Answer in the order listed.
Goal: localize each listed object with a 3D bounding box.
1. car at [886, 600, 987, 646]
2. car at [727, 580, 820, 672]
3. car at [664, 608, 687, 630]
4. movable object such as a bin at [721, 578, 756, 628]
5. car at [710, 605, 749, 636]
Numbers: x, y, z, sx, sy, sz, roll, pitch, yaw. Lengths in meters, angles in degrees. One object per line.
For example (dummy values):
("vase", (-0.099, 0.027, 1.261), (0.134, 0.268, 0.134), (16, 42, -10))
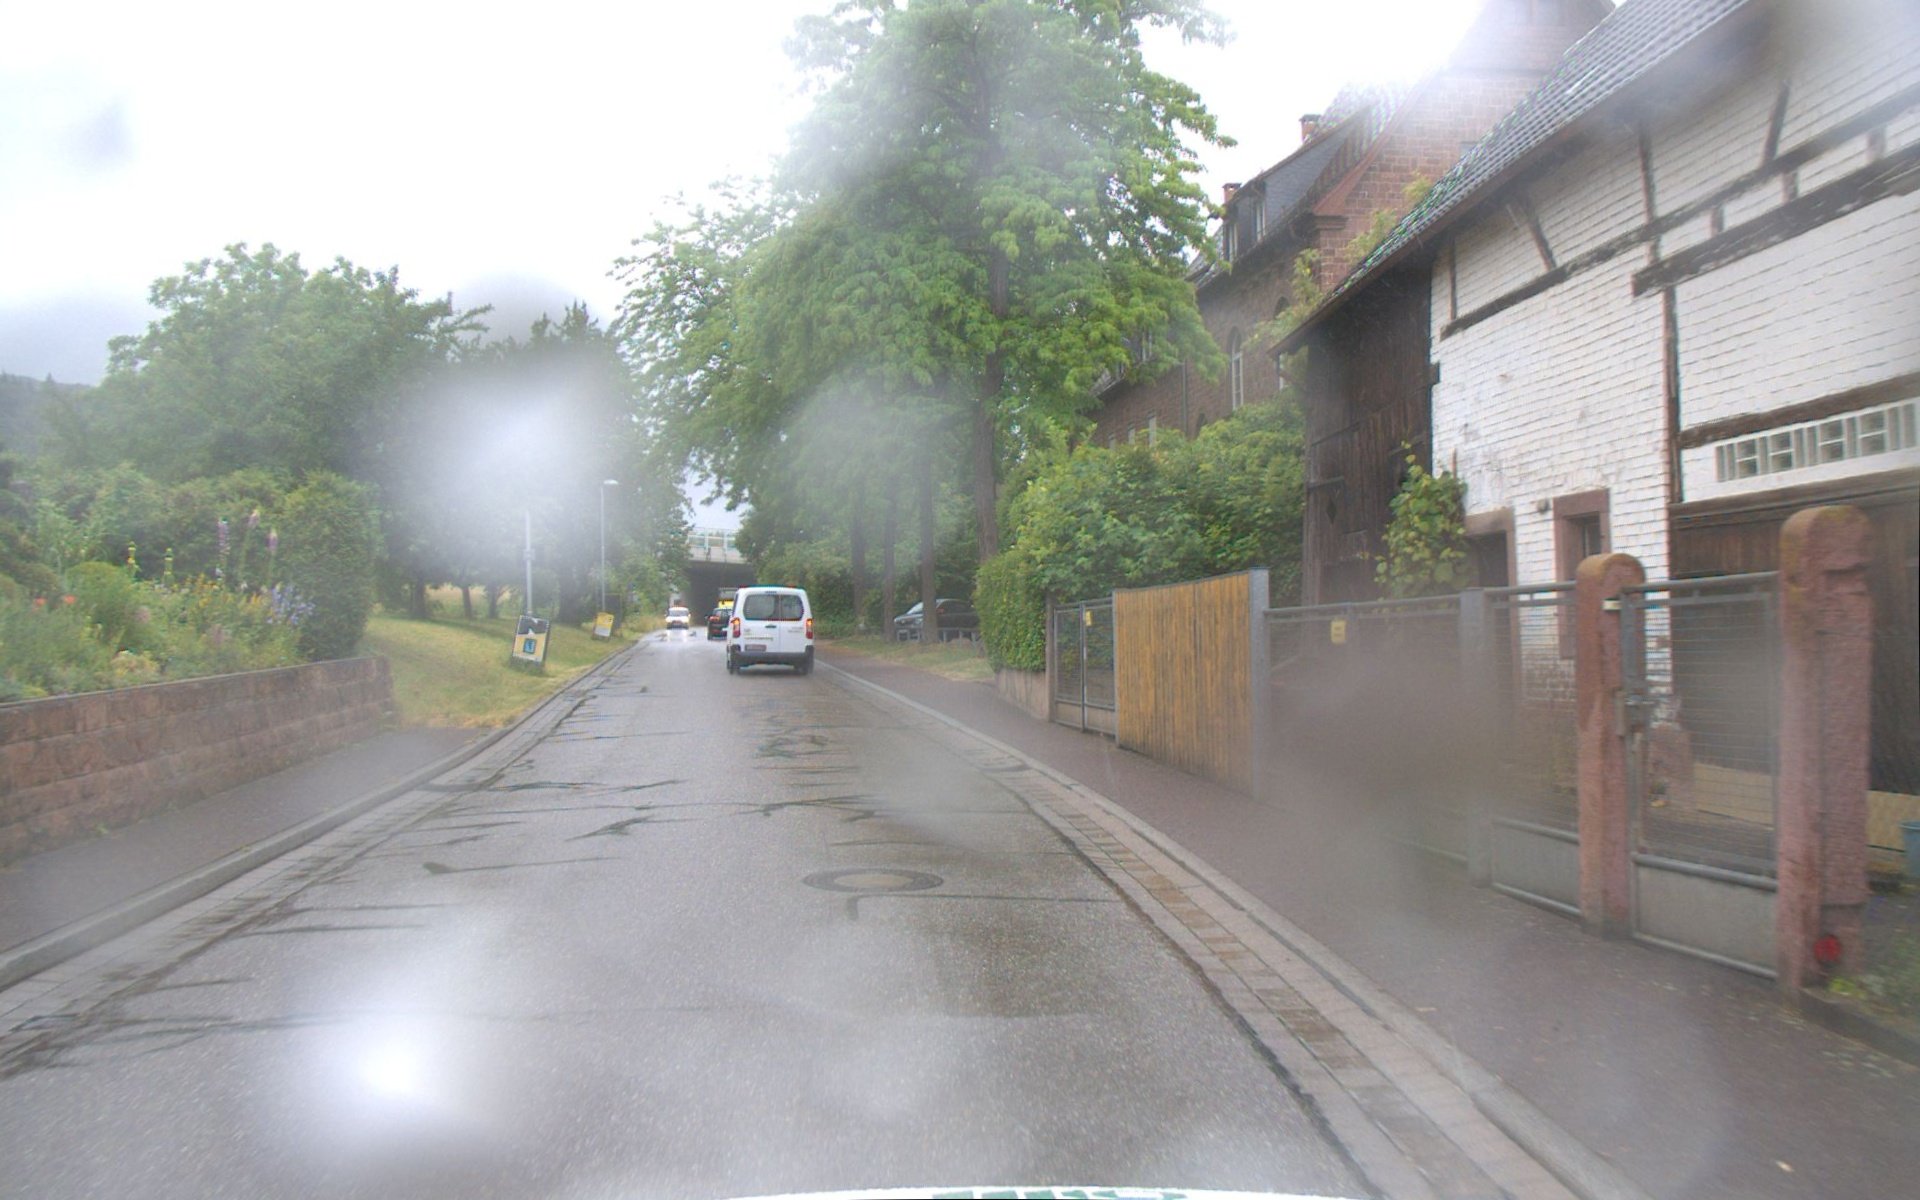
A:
("car", (-0.828, 0.828, 59.906), (1.594, 1.578, 3.588), (-2, -2, 44))
("car", (-4.098, 0.538, 35.944), (1.861, 1.838, 3.992), (-1, 0, -8))
("car", (-23.792, 1.592, 138.245), (1.790, 1.864, 4.296), (0, -1, -10))
("movable object such as a bin", (-11.877, 0.190, 88.852), (1.727, 2.592, 4.232), (1, -1, -6))
("car", (-10.710, 0.978, 77.066), (1.676, 1.402, 3.994), (1, -1, -6))
